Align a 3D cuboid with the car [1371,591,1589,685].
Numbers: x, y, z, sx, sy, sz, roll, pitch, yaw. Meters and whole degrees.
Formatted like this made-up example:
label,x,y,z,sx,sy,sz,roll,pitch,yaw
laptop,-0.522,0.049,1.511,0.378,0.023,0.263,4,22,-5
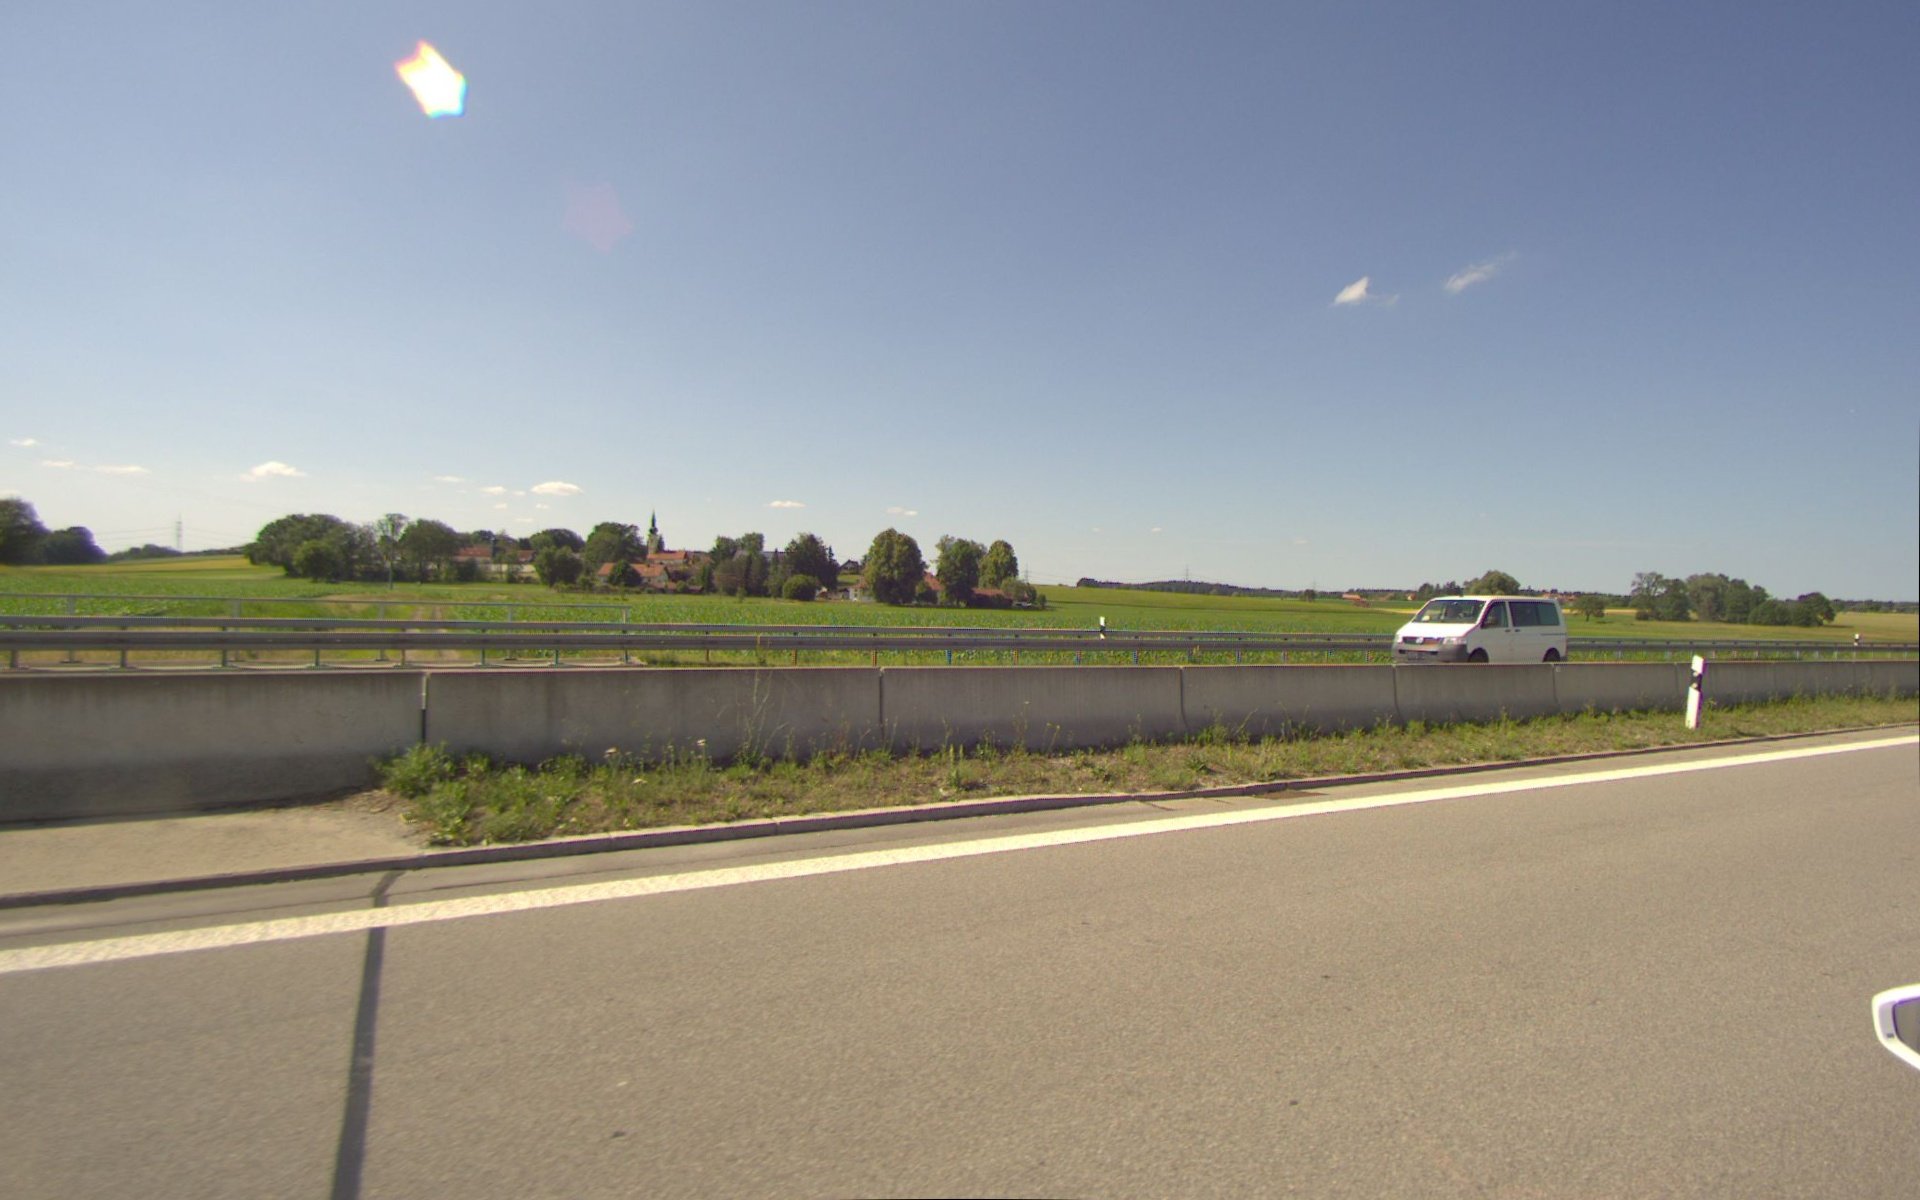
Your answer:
label,x,y,z,sx,sy,sz,roll,pitch,yaw
car,12.468,0.911,23.979,5.549,2.040,1.983,2,-1,-31
